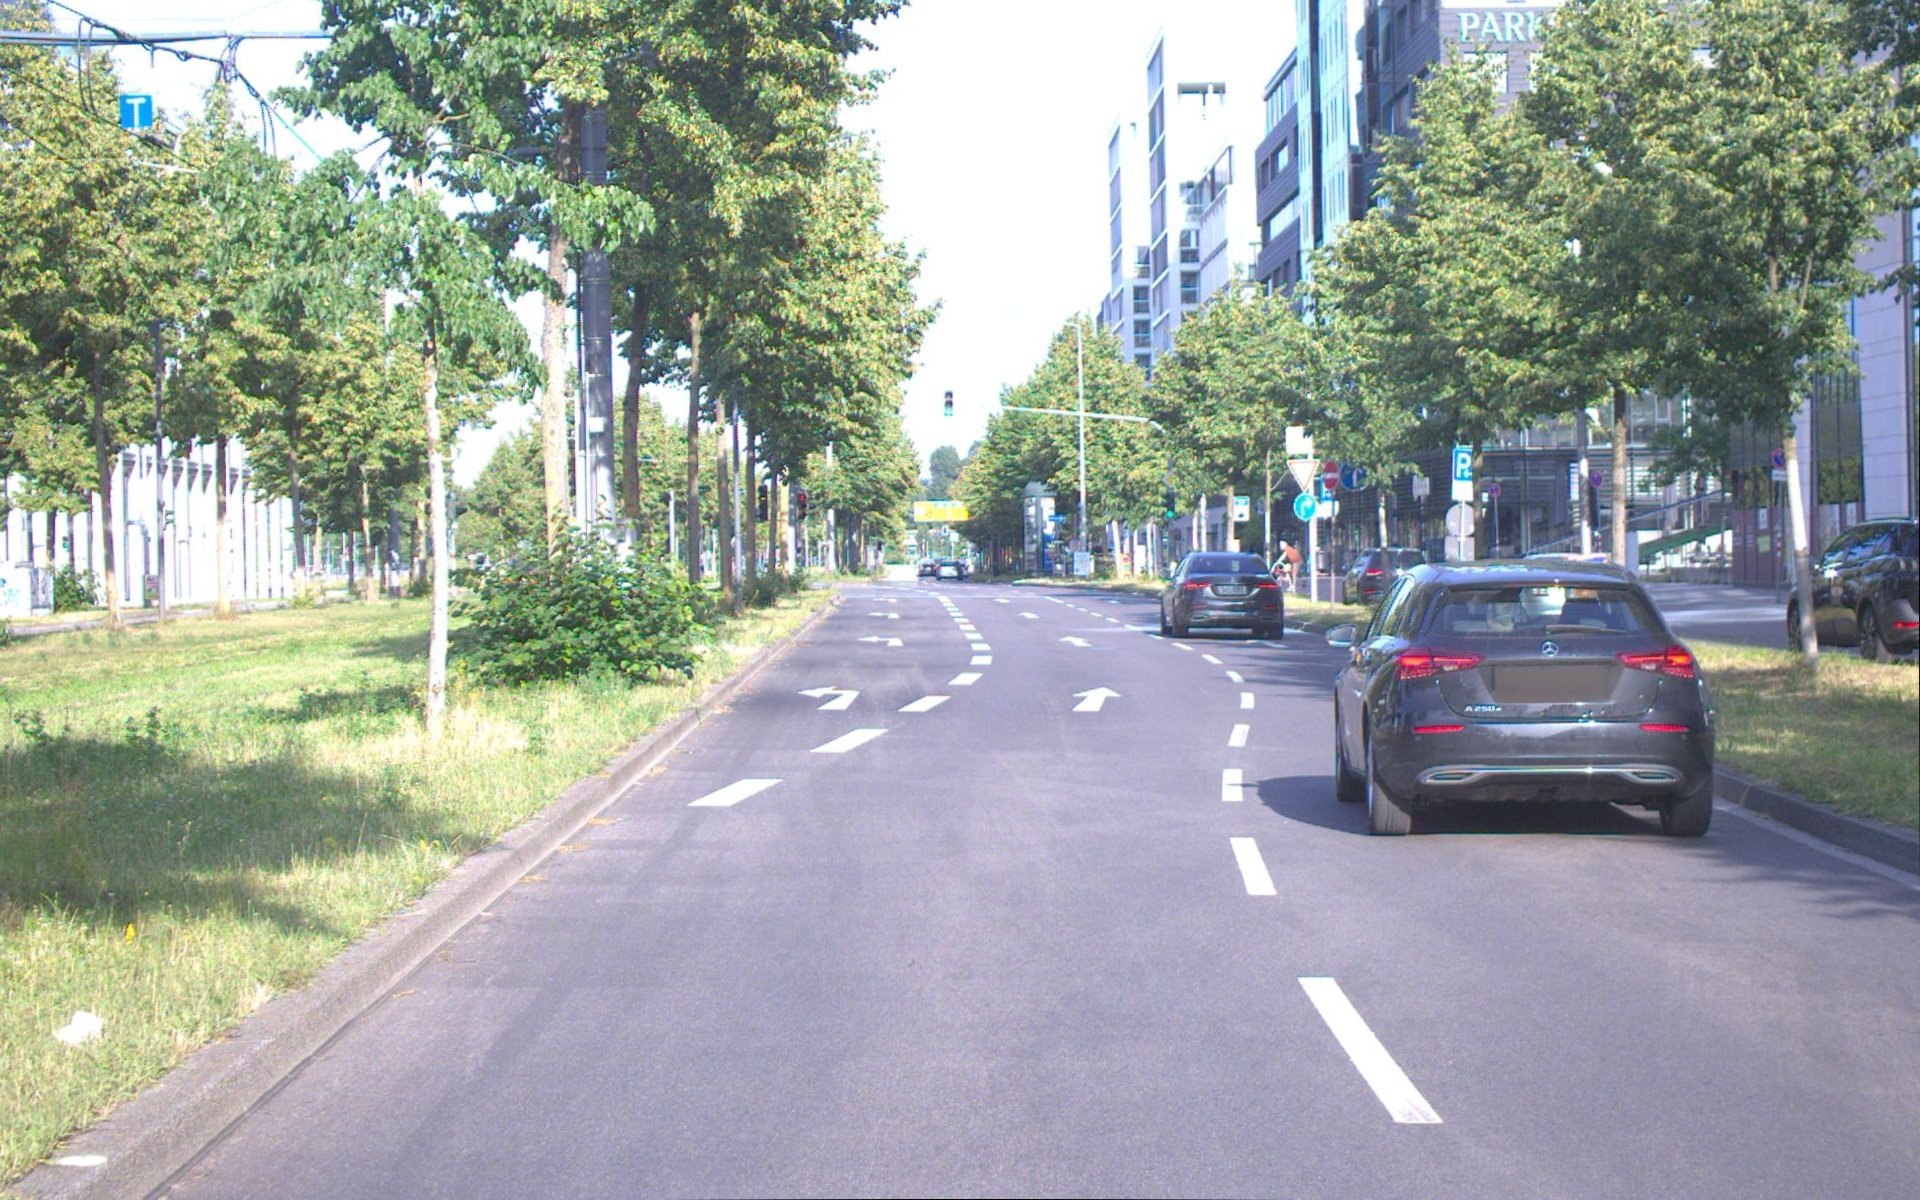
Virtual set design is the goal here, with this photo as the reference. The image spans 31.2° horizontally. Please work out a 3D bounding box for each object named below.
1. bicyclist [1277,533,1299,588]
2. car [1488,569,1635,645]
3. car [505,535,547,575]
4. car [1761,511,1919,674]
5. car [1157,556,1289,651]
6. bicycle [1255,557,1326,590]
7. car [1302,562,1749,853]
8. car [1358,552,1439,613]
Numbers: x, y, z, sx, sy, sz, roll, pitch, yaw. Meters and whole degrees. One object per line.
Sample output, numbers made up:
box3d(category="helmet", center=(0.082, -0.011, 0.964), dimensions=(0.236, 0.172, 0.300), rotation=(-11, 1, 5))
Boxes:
box3d(category="bicyclist", center=(10.182, -1.235, 106.665), dimensions=(0.574, 1.701, 0.541), rotation=(1, 0, -5))
box3d(category="car", center=(10.279, 0.109, 58.967), dimensions=(1.708, 1.238, 3.906), rotation=(1, 0, -2))
box3d(category="car", center=(-19.559, -2.027, 154.956), dimensions=(1.684, 1.769, 3.883), rotation=(1, 0, -4))
box3d(category="car", center=(10.542, -0.117, 38.364), dimensions=(1.897, 1.702, 4.678), rotation=(1, 1, -3))
box3d(category="car", center=(4.371, 0.043, 57.686), dimensions=(1.859, 1.519, 3.786), rotation=(1, 0, -1))
box3d(category="bicycle", center=(10.257, -0.824, 106.689), dimensions=(2.134, 1.009, 0.571), rotation=(1, 0, -4))
box3d(category="car", center=(3.006, 0.525, 19.051), dimensions=(1.774, 1.419, 3.961), rotation=(1, 0, 0))
box3d(category="car", center=(10.171, -0.405, 80.002), dimensions=(1.607, 1.366, 4.157), rotation=(1, 0, 4))
